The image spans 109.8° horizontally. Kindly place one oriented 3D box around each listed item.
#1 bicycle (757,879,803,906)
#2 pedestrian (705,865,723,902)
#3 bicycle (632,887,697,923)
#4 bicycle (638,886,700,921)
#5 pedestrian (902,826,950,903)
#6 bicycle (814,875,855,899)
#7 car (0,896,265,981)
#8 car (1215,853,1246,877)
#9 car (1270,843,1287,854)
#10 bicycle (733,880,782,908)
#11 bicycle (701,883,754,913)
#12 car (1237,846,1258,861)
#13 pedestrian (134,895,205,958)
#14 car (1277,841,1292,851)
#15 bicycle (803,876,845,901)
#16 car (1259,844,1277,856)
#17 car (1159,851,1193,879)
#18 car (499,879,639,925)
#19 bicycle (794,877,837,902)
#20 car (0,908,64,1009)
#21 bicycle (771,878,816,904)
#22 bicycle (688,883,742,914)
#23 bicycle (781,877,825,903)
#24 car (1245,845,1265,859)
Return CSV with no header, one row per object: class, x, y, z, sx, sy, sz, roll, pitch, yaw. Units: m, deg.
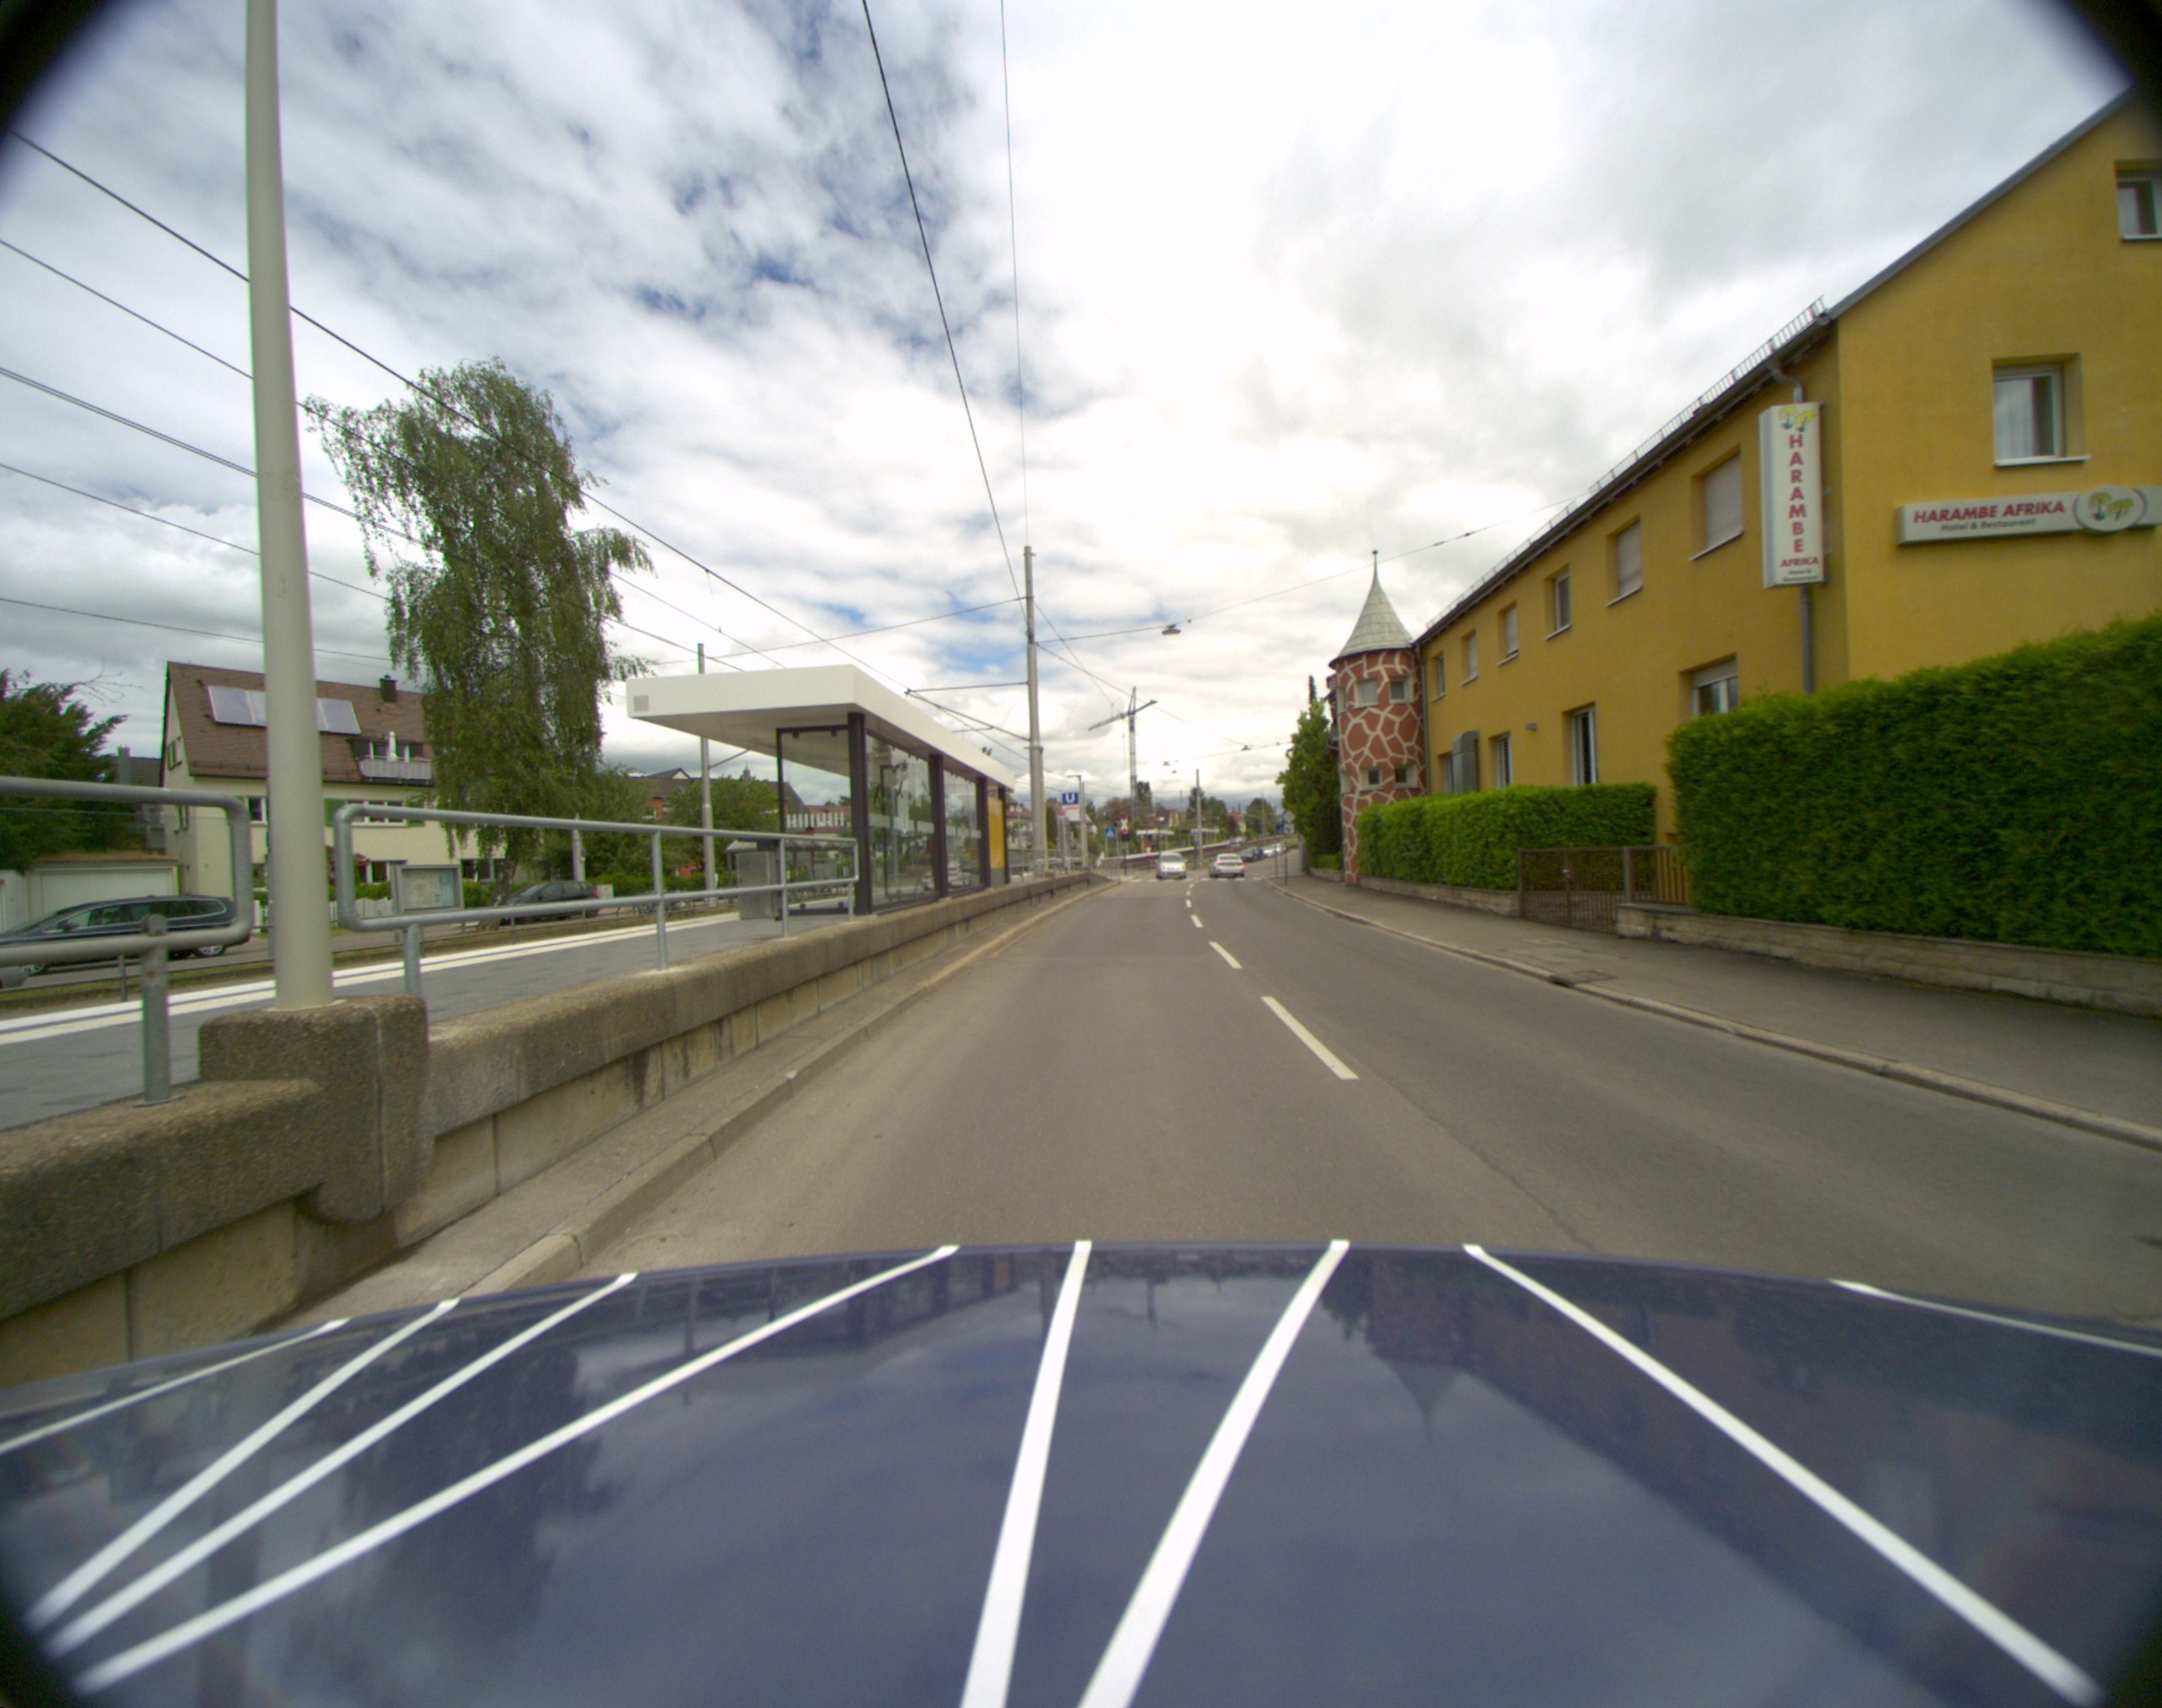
bicycle,-12.665,1.624,31.972,1.767,1.035,0.557,-3,1,13
pedestrian,-19.512,1.576,40.430,0.626,1.903,0.830,-2,-1,-11
bicycle,-13.487,1.641,24.603,1.769,1.035,0.557,-3,1,2
bicycle,-13.762,1.658,25.399,1.769,1.035,0.557,-3,1,3
pedestrian,-2.733,0.183,13.426,0.622,1.291,0.719,-2,1,2
bicycle,-11.643,1.544,35.940,1.767,1.035,0.557,-3,1,13
car,-24.442,2.044,19.165,1.817,1.626,4.846,-2,0,22
car,9.401,0.677,47.628,1.821,1.411,4.467,0,0,11
car,28.840,-0.840,110.833,1.851,1.368,4.005,-3,0,20
bicycle,-12.961,1.600,30.413,1.767,1.035,0.557,-3,1,13
bicycle,-13.301,1.642,28.608,1.767,1.035,0.557,-3,1,13
car,18.519,-0.117,84.570,1.819,1.493,4.124,-3,0,18
pedestrian,-26.210,2.067,21.868,0.810,1.676,0.949,-3,1,7
car,32.590,-1.274,121.779,1.851,1.368,4.005,-3,0,20
bicycle,-11.844,1.580,35.059,1.767,1.035,0.557,-3,1,13
car,24.629,-0.497,99.903,1.851,1.368,4.005,-3,0,20
car,5.834,0.666,47.159,1.725,1.559,3.928,-3,0,3
car,-20.471,1.897,30.648,1.818,1.477,4.427,-2,0,19
bicycle,-12.006,1.595,34.357,1.767,1.035,0.557,-3,1,13
car,-18.501,1.754,10.836,2.067,1.565,4.262,-3,0,7
bicycle,-12.427,1.616,32.843,1.767,1.035,0.557,-3,1,13
bicycle,-13.468,1.640,27.956,1.767,1.035,0.557,-3,1,13
bicycle,-12.271,1.582,33.538,1.767,1.035,0.557,-3,1,13
car,20.814,-0.233,90.838,1.819,1.493,4.124,-3,0,18
